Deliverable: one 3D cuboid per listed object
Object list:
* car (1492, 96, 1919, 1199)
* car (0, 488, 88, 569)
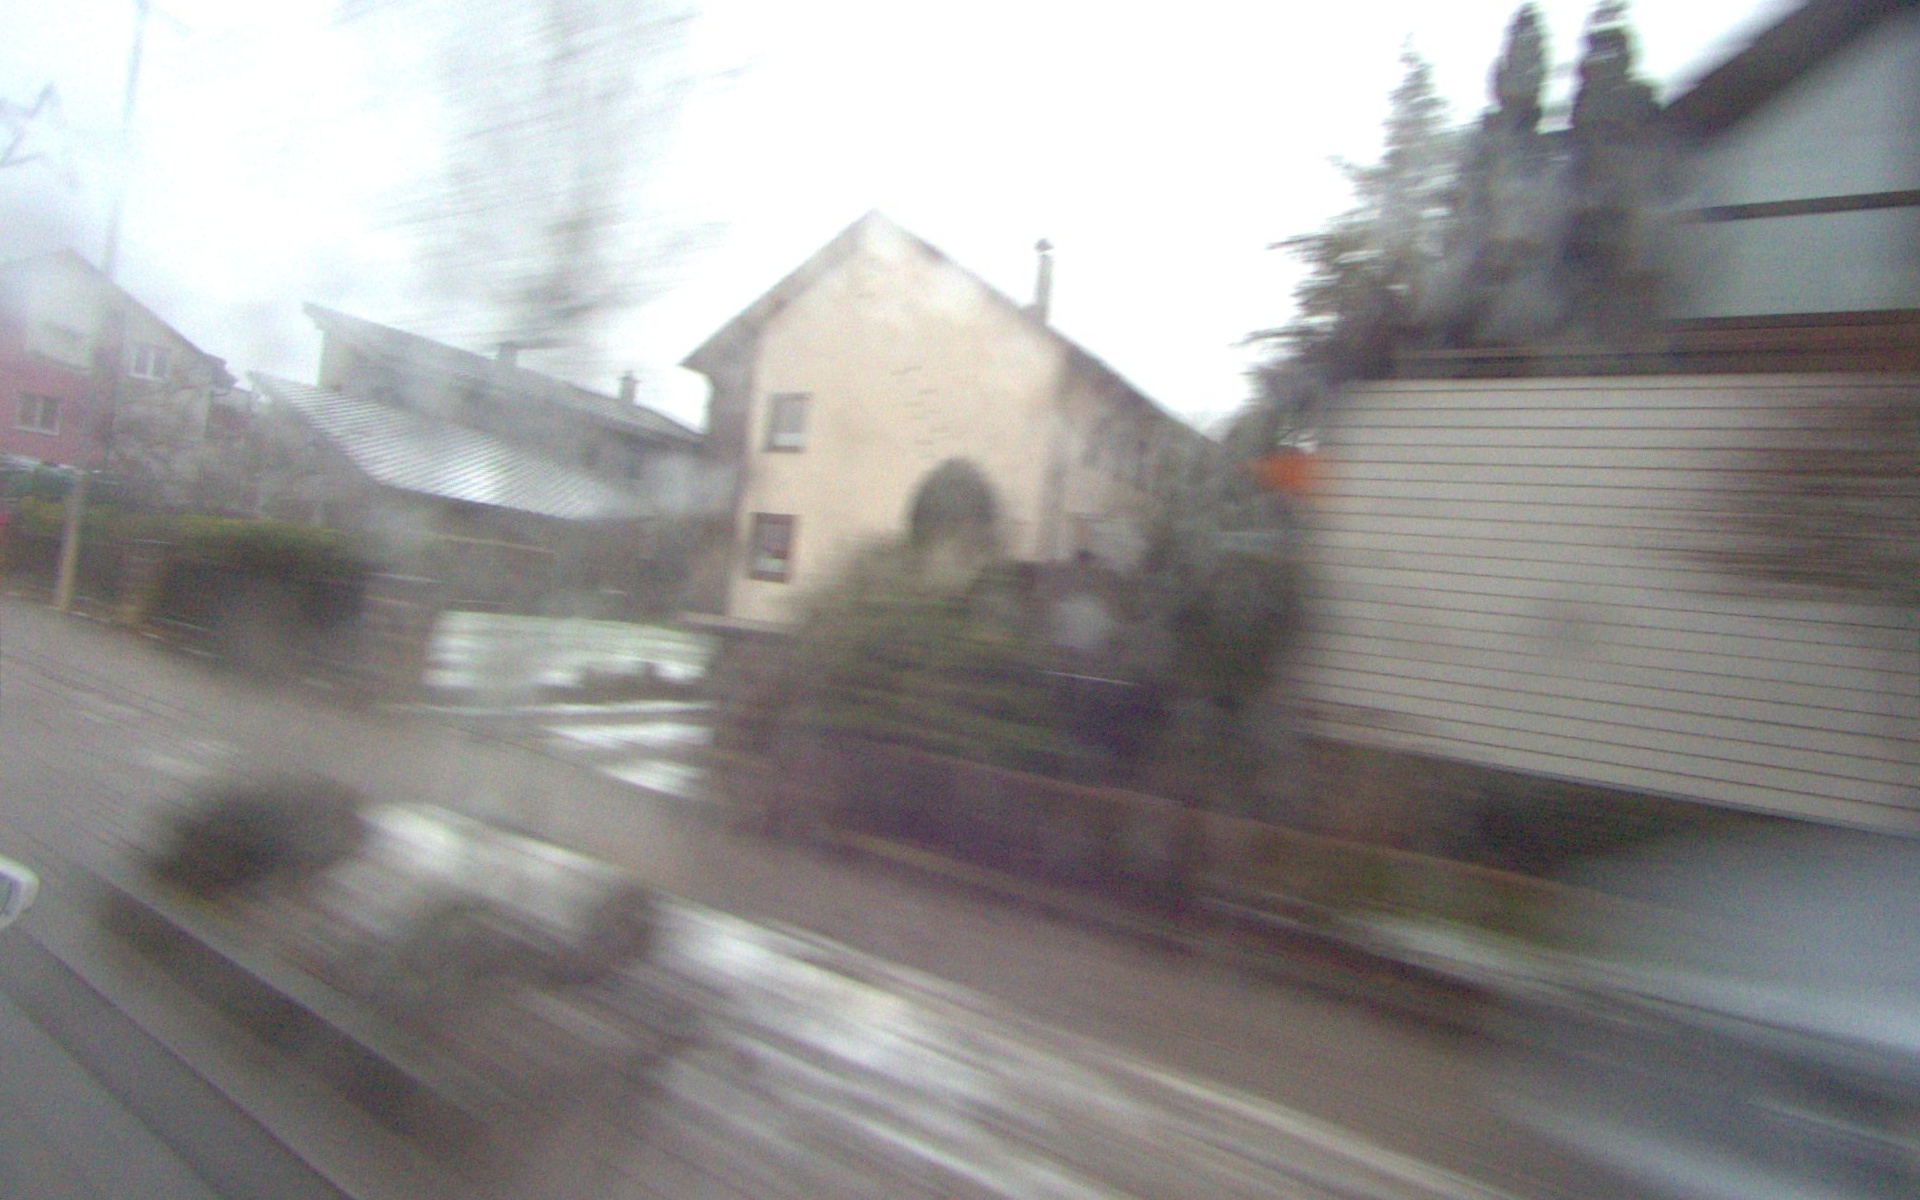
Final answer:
[{"bbox_3d":[3.545,0.872,0.508,5.647,2.039,1.980,7,0,30],"label":"car"},{"bbox_3d":[-22.615,-1.804,24.267,4.280,1.601,1.965,6,-2,45],"label":"car"}]
